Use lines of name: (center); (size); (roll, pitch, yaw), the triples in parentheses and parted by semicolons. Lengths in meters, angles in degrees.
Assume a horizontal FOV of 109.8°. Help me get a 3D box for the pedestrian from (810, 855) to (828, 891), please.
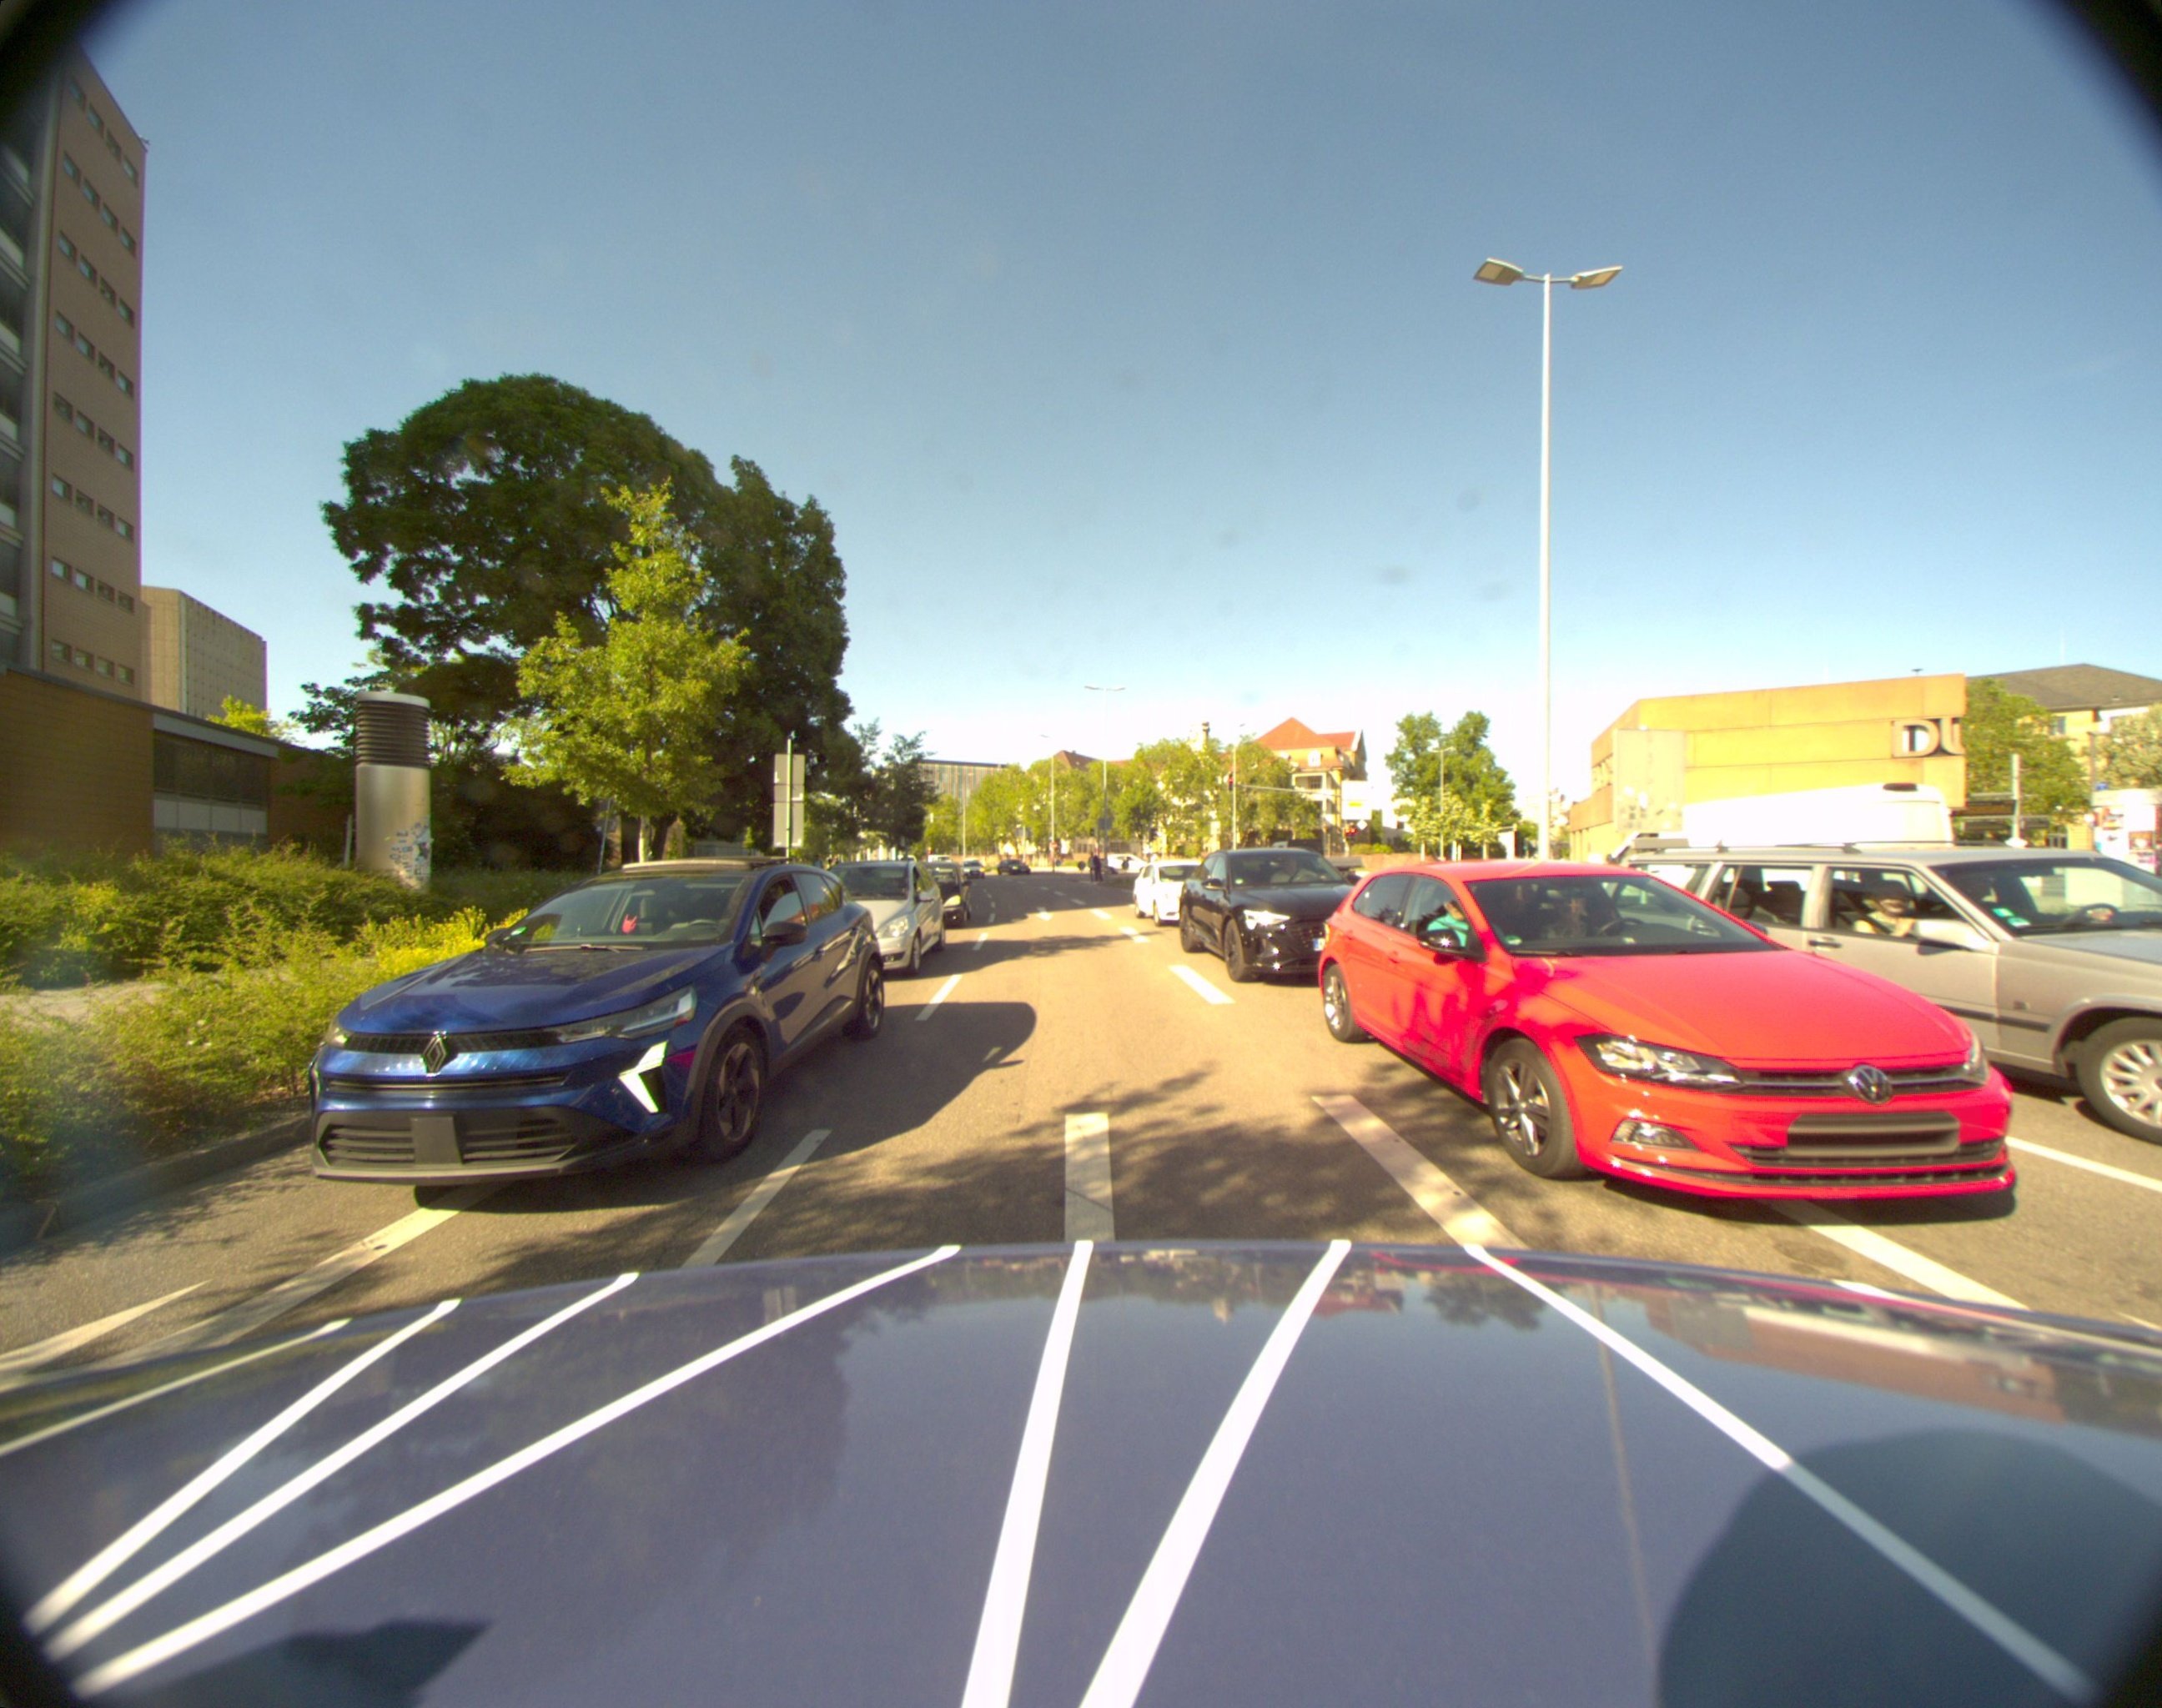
pedestrian: (-11.607, 0.841, 33.700); (0.693, 1.594, 0.661); (0, 0, -14)

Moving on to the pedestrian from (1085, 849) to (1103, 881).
pedestrian: (0.746, 0.620, 44.511); (0.887, 1.814, 0.776); (-2, 1, -7)

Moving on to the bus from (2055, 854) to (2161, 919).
bus: (21.670, 0.618, 14.107); (1.646, 1.234, 4.181); (0, 0, -5)

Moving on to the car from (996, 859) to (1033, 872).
car: (-6.084, 1.020, 69.324); (1.588, 1.197, 3.990); (0, 0, -34)

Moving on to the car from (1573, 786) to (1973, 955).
car: (12.154, 0.247, 14.073); (2.000, 2.493, 5.414); (0, 0, -9)

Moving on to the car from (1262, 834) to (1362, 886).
car: (11.084, 0.282, 37.064); (2.117, 2.300, 6.209); (-1, 0, -10)

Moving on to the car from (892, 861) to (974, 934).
car: (-3.564, 0.986, 18.800); (1.651, 1.601, 3.488); (0, 0, -6)

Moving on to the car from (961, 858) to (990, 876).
car: (-8.535, 1.004, 61.259); (1.754, 1.370, 3.569); (-1, 0, -16)

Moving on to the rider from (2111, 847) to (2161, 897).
rider: (31.175, 0.517, 22.347); (0.668, 1.455, 0.862); (0, 0, 20)

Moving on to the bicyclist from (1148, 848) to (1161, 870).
bicyclist: (5.431, 0.382, 56.082); (0.815, 1.549, 0.696); (-2, 1, 10)

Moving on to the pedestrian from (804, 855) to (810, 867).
pedestrian: (-43.992, 1.132, 121.872); (0.823, 1.906, 0.770); (-2, 1, -26)

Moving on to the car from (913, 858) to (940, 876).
car: (-13.280, 1.093, 65.217); (1.754, 1.467, 3.568); (-2, 1, -19)

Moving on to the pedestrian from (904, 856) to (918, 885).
pedestrian: (-9.369, 0.914, 41.851); (0.661, 1.594, 0.692); (0, 0, -5)

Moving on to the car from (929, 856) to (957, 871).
car: (-13.982, 0.967, 76.836); (1.884, 1.472, 3.992); (-2, 0, -24)

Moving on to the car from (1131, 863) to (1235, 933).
car: (2.269, 0.950, 17.766); (1.575, 1.410, 3.711); (-1, 0, -6)

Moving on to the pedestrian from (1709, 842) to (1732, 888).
pedestrian: (24.625, 0.417, 29.267); (0.644, 1.766, 0.618); (0, 1, 42)

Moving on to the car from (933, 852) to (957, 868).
car: (-17.416, 0.751, 97.076); (1.790, 2.002, 4.223); (-2, 1, -26)

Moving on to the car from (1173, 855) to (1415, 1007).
car: (2.567, 0.831, 10.386); (1.859, 1.606, 4.452); (0, 0, -3)

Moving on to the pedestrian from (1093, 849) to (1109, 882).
pedestrian: (1.129, 0.641, 43.164); (0.756, 1.814, 0.776); (-2, 1, -5)

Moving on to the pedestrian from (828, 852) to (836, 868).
pedestrian: (-30.393, 0.765, 92.795); (0.823, 1.906, 0.770); (-2, 1, -25)

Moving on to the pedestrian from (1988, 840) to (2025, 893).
pedestrian: (31.263, 0.418, 25.675); (0.644, 1.766, 0.469); (0, 1, 21)

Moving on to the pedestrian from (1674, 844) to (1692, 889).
pedestrian: (24.103, 0.500, 30.424); (0.467, 1.766, 0.647); (0, 1, 29)

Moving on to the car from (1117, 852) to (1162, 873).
car: (4.723, 0.708, 61.382); (3.374, 1.669, 1.527); (0, 0, 17)

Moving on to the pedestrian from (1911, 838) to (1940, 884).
pedestrian: (33.110, 0.270, 29.805); (0.645, 1.766, 0.468); (-1, 1, -4)

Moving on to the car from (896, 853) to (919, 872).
car: (-17.785, 0.857, 77.905); (1.830, 1.842, 3.746); (0, 0, -20)

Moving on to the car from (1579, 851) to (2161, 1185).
car: (5.760, 0.776, 4.941); (1.713, 1.464, 4.752); (-4, -1, -2)

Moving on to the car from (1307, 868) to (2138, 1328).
car: (2.800, 0.876, 4.551); (1.674, 1.464, 3.853); (-2, 0, -1)

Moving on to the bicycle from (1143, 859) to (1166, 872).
bicycle: (5.425, 0.839, 56.086); (1.652, 0.884, 0.591); (-2, 1, 10)

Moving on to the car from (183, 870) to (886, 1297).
car: (-2.690, 0.955, 5.062); (1.705, 1.596, 4.084); (-1, 0, 0)

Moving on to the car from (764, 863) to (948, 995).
car: (-3.185, 0.964, 11.589); (1.786, 1.615, 4.042); (0, 0, -3)

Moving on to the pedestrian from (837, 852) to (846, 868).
pedestrian: (-29.288, 0.724, 92.969); (0.823, 1.906, 0.770); (-2, 1, -25)
